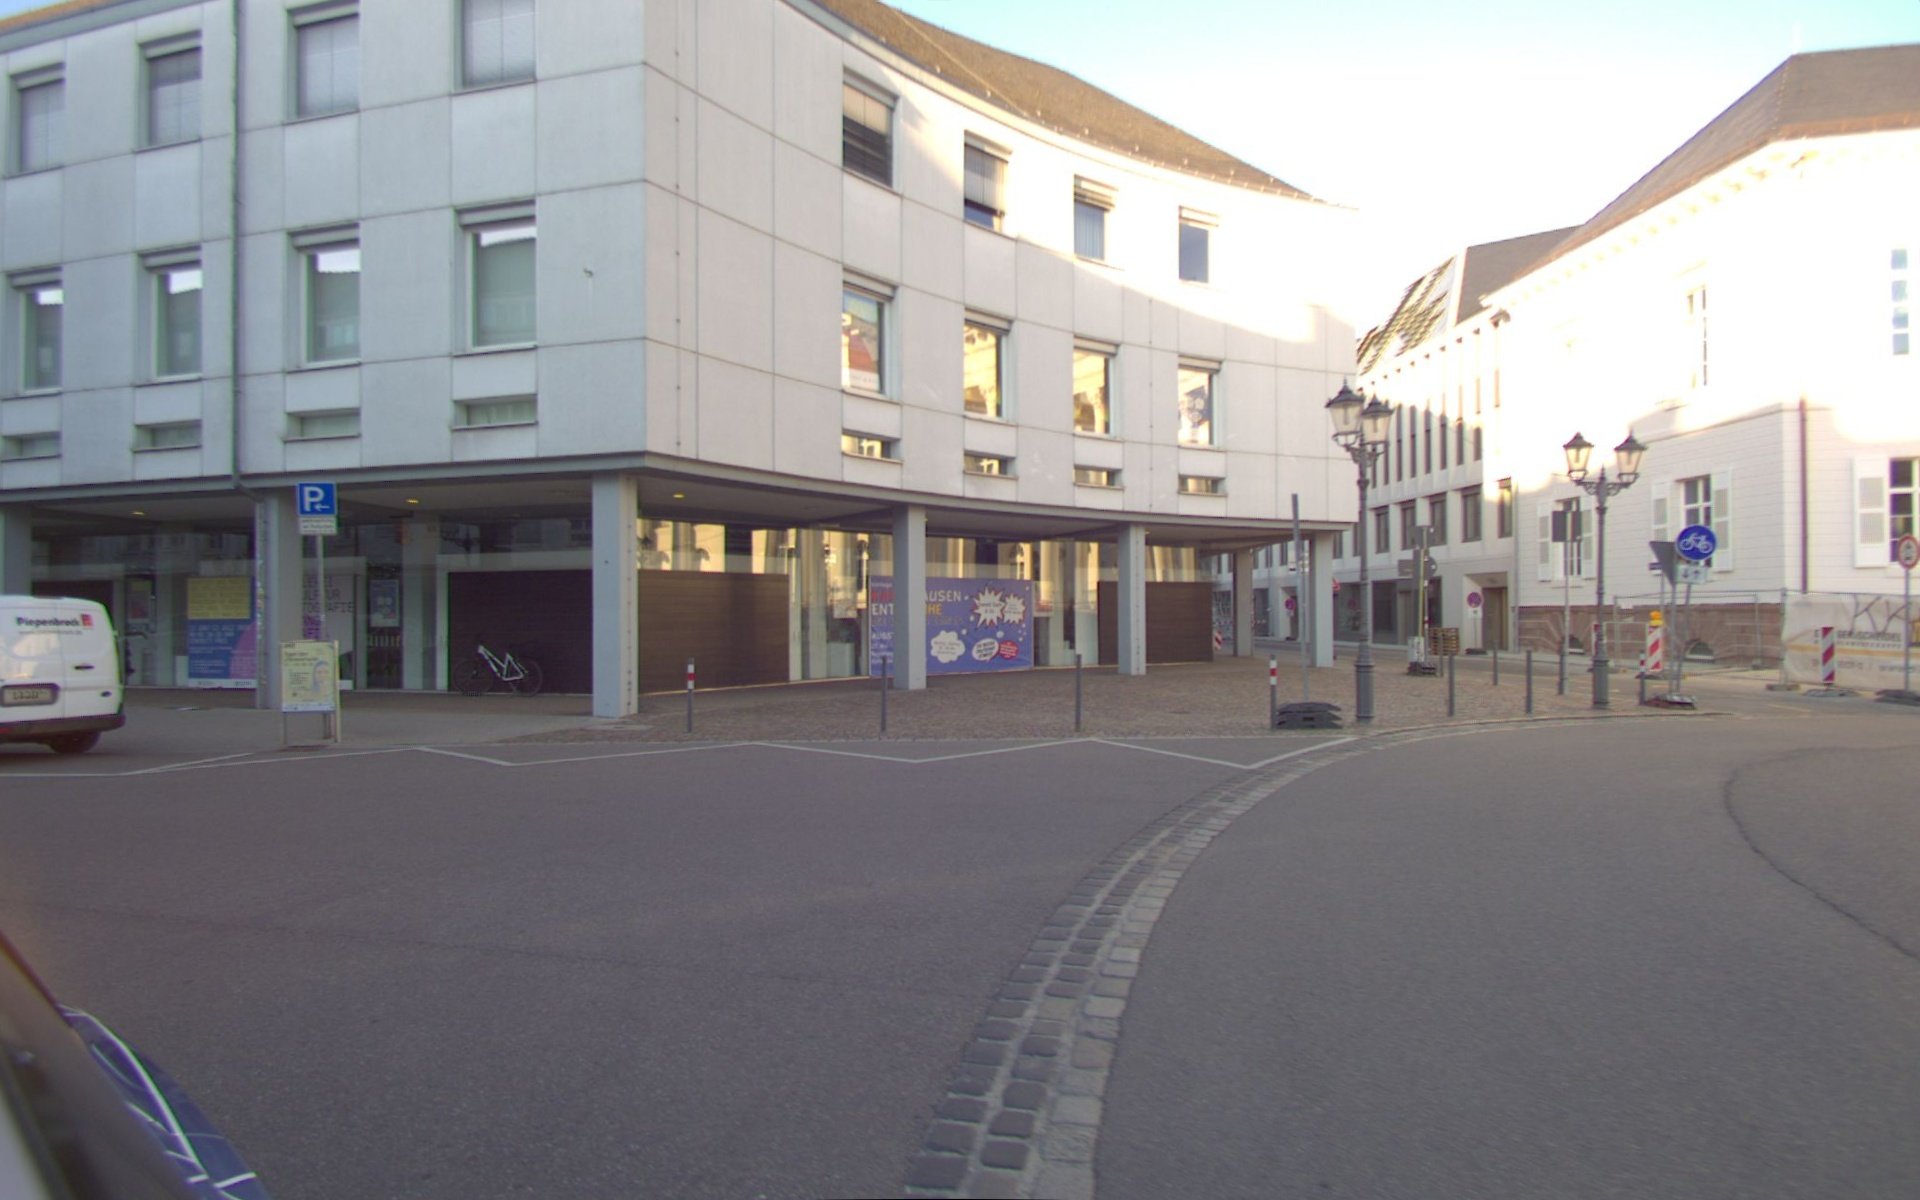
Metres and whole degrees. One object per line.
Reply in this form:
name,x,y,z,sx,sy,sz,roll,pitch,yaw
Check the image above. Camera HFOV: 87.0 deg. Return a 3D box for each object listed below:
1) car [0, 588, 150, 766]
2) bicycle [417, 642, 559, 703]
car,-12.082,0.825,11.392,4.729,1.829,1.995,-1,-1,9
bicycle,-8.240,1.247,17.667,2.313,0.991,0.732,-1,0,15
